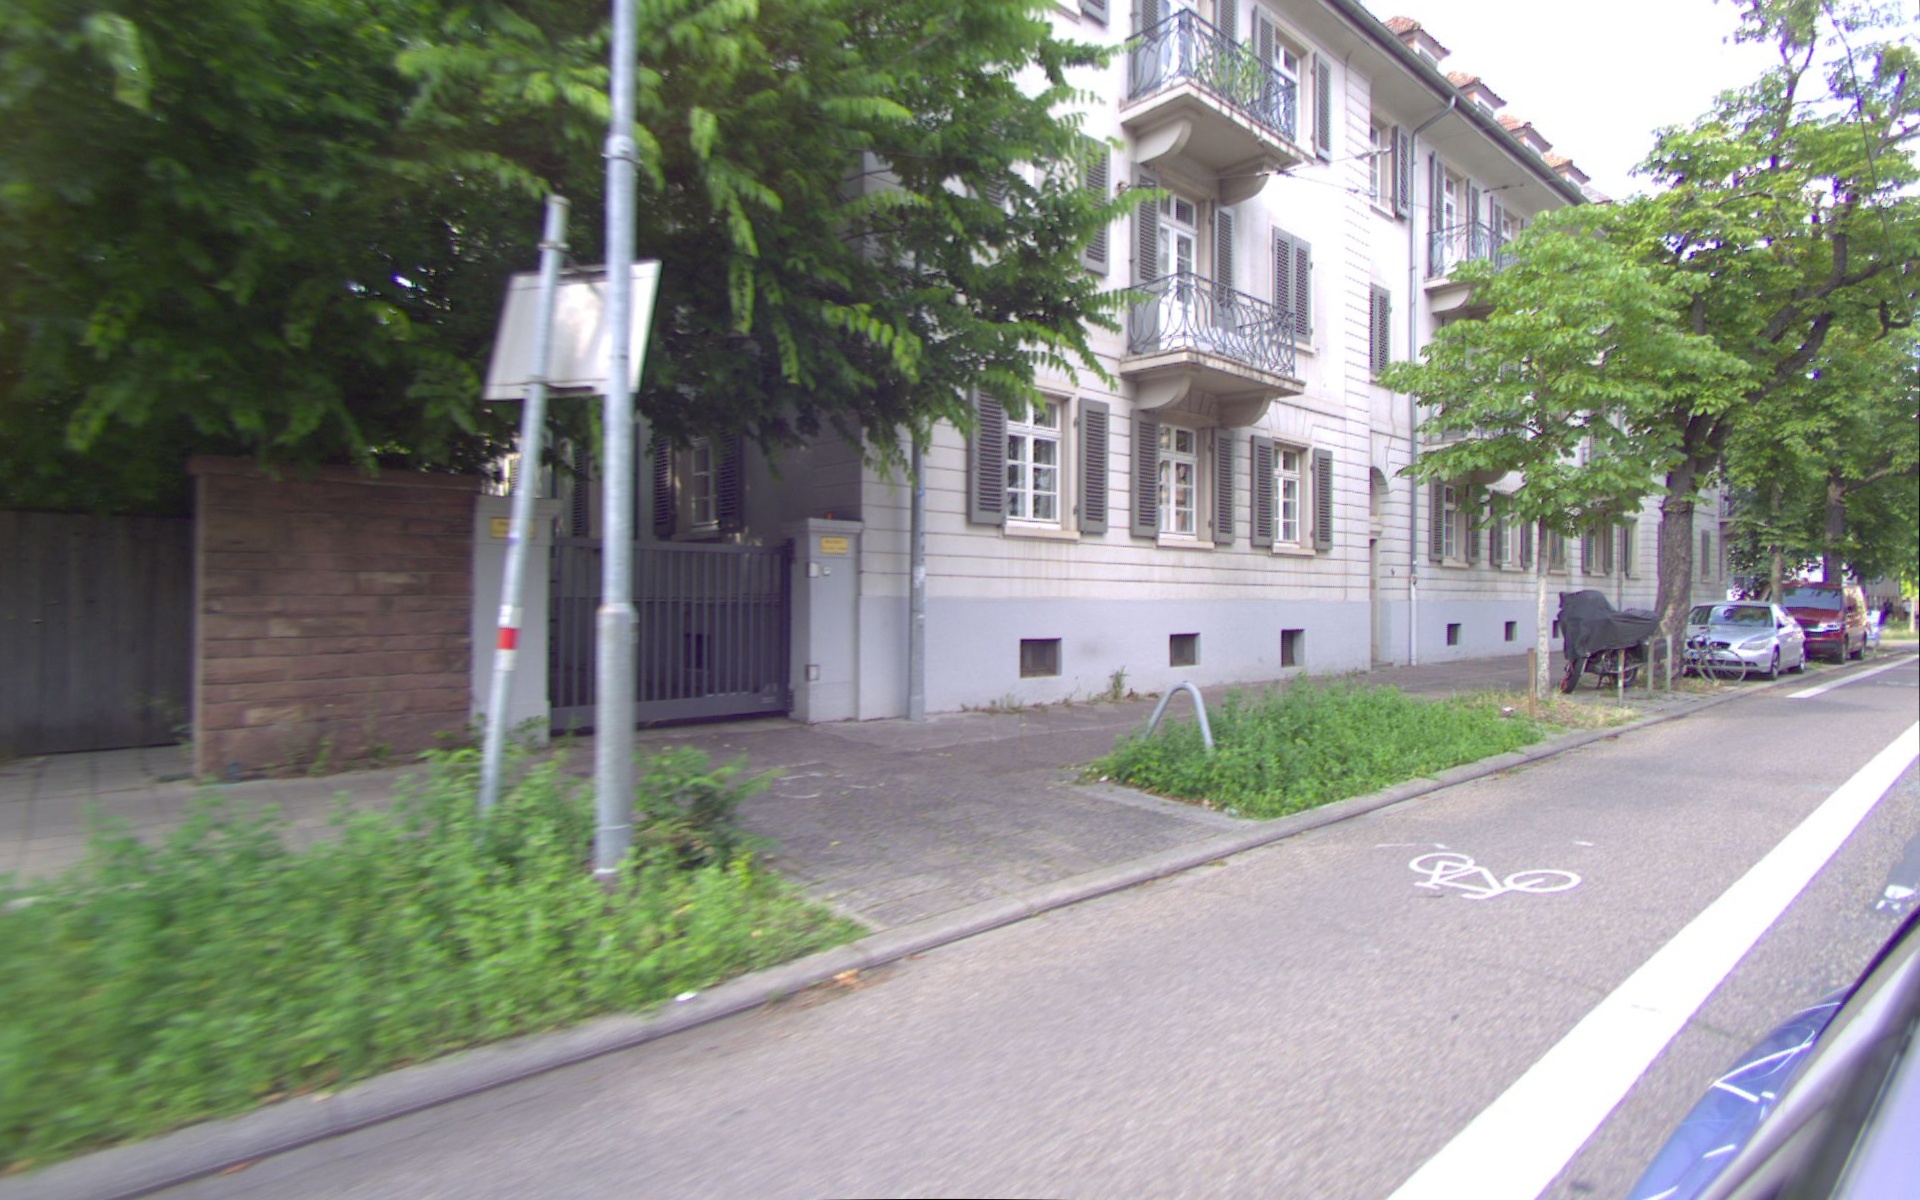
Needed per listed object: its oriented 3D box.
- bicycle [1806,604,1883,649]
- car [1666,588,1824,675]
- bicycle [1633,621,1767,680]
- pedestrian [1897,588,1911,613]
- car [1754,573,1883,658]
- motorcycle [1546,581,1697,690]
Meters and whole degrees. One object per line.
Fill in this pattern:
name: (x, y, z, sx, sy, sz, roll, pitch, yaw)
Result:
bicycle: (24.771, 0.729, 28.357, 0.580, 1.218, 1.611, 0, 0, -44)
car: (15.688, 0.552, 20.117, 4.707, 1.517, 1.709, 0, 0, -42)
bicycle: (12.934, 0.859, 17.731, 0.679, 0.914, 1.781, 1, 0, -38)
pedestrian: (63.493, 0.038, 68.076, 0.959, 1.660, 0.581, 1, -1, -42)
car: (21.741, 0.349, 25.557, 4.866, 1.965, 1.898, 0, 0, -42)
motorcycle: (10.166, 0.502, 15.537, 2.391, 1.561, 0.984, 0, 0, -31)
